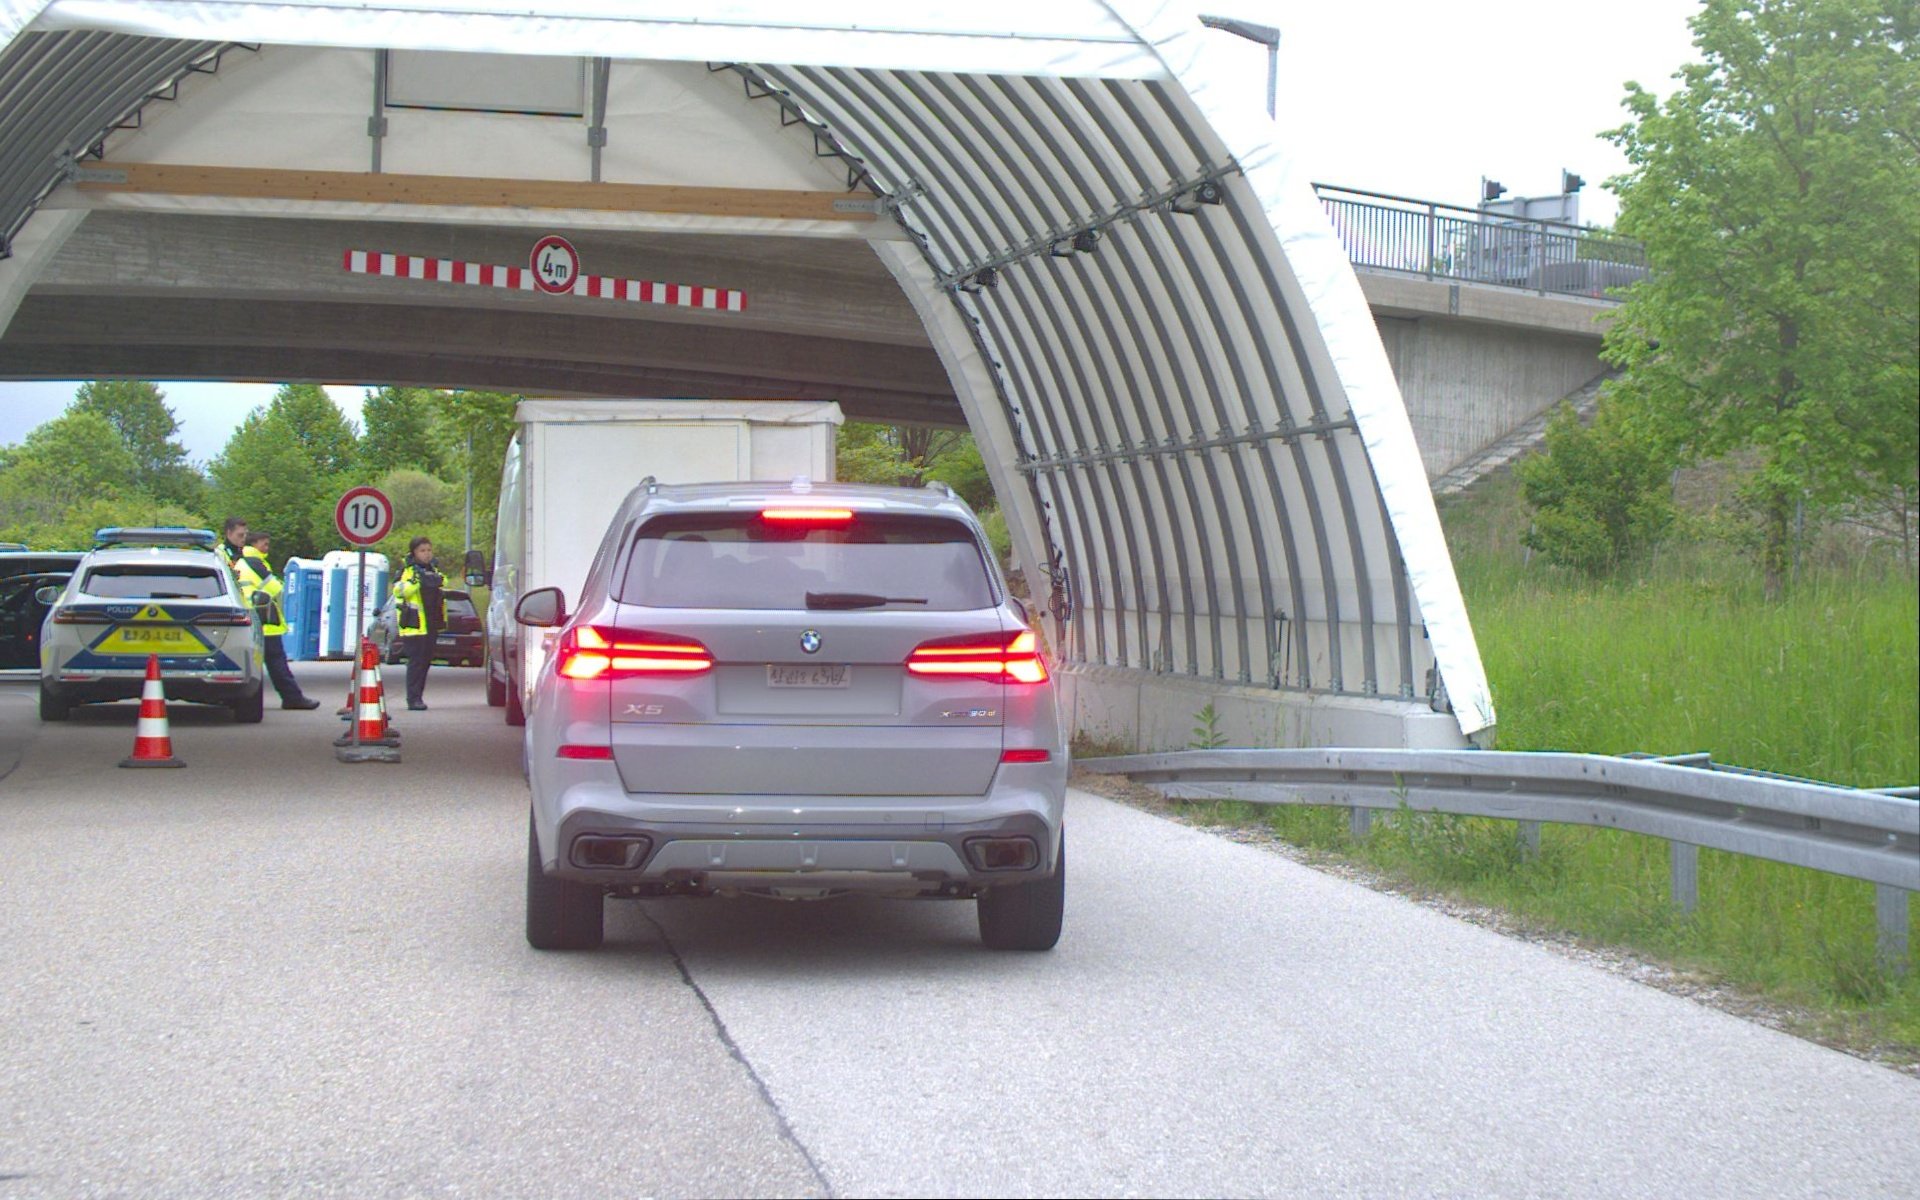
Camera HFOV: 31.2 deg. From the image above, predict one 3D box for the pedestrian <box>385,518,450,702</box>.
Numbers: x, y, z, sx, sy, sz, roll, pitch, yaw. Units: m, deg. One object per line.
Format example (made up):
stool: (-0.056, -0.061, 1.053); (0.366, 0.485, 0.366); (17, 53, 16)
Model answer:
pedestrian: (-5.277, 0.096, 33.422); (0.604, 1.769, 0.650); (0, 0, -11)

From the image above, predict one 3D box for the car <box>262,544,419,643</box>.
car: (-12.996, -0.158, 71.980); (1.993, 2.007, 4.000); (0, 1, -30)

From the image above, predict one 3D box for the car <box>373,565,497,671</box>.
car: (-9.556, 0.286, 62.361); (1.703, 1.848, 4.001); (0, 1, -16)

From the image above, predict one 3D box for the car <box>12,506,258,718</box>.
car: (-7.278, 0.078, 30.640); (1.993, 1.766, 3.766); (0, 1, -11)

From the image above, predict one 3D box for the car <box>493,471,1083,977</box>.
car: (-0.708, 0.415, 13.694); (1.993, 1.714, 4.000); (0, 0, -4)

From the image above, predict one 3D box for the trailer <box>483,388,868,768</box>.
trailer: (-2.288, -0.128, 25.497); (2.278, 2.422, 6.819); (0, 0, -9)

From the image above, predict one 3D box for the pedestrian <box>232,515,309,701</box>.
pedestrian: (-6.634, 0.072, 33.098); (0.720, 1.769, 0.690); (0, 0, -11)

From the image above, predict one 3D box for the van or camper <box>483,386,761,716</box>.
van or camper: (-3.237, -0.398, 31.777); (2.156, 2.754, 5.872); (0, 0, -9)

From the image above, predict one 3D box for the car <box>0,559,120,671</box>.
car: (-12.659, 0.174, 46.163); (1.515, 1.437, 3.315); (0, 1, -37)

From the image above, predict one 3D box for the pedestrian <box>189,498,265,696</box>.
pedestrian: (-7.247, -0.036, 34.013); (0.720, 1.939, 0.690); (0, 0, -11)

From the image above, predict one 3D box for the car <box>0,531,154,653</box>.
car: (-14.671, -0.130, 53.105); (3.987, 1.848, 1.709); (0, 1, 5)
